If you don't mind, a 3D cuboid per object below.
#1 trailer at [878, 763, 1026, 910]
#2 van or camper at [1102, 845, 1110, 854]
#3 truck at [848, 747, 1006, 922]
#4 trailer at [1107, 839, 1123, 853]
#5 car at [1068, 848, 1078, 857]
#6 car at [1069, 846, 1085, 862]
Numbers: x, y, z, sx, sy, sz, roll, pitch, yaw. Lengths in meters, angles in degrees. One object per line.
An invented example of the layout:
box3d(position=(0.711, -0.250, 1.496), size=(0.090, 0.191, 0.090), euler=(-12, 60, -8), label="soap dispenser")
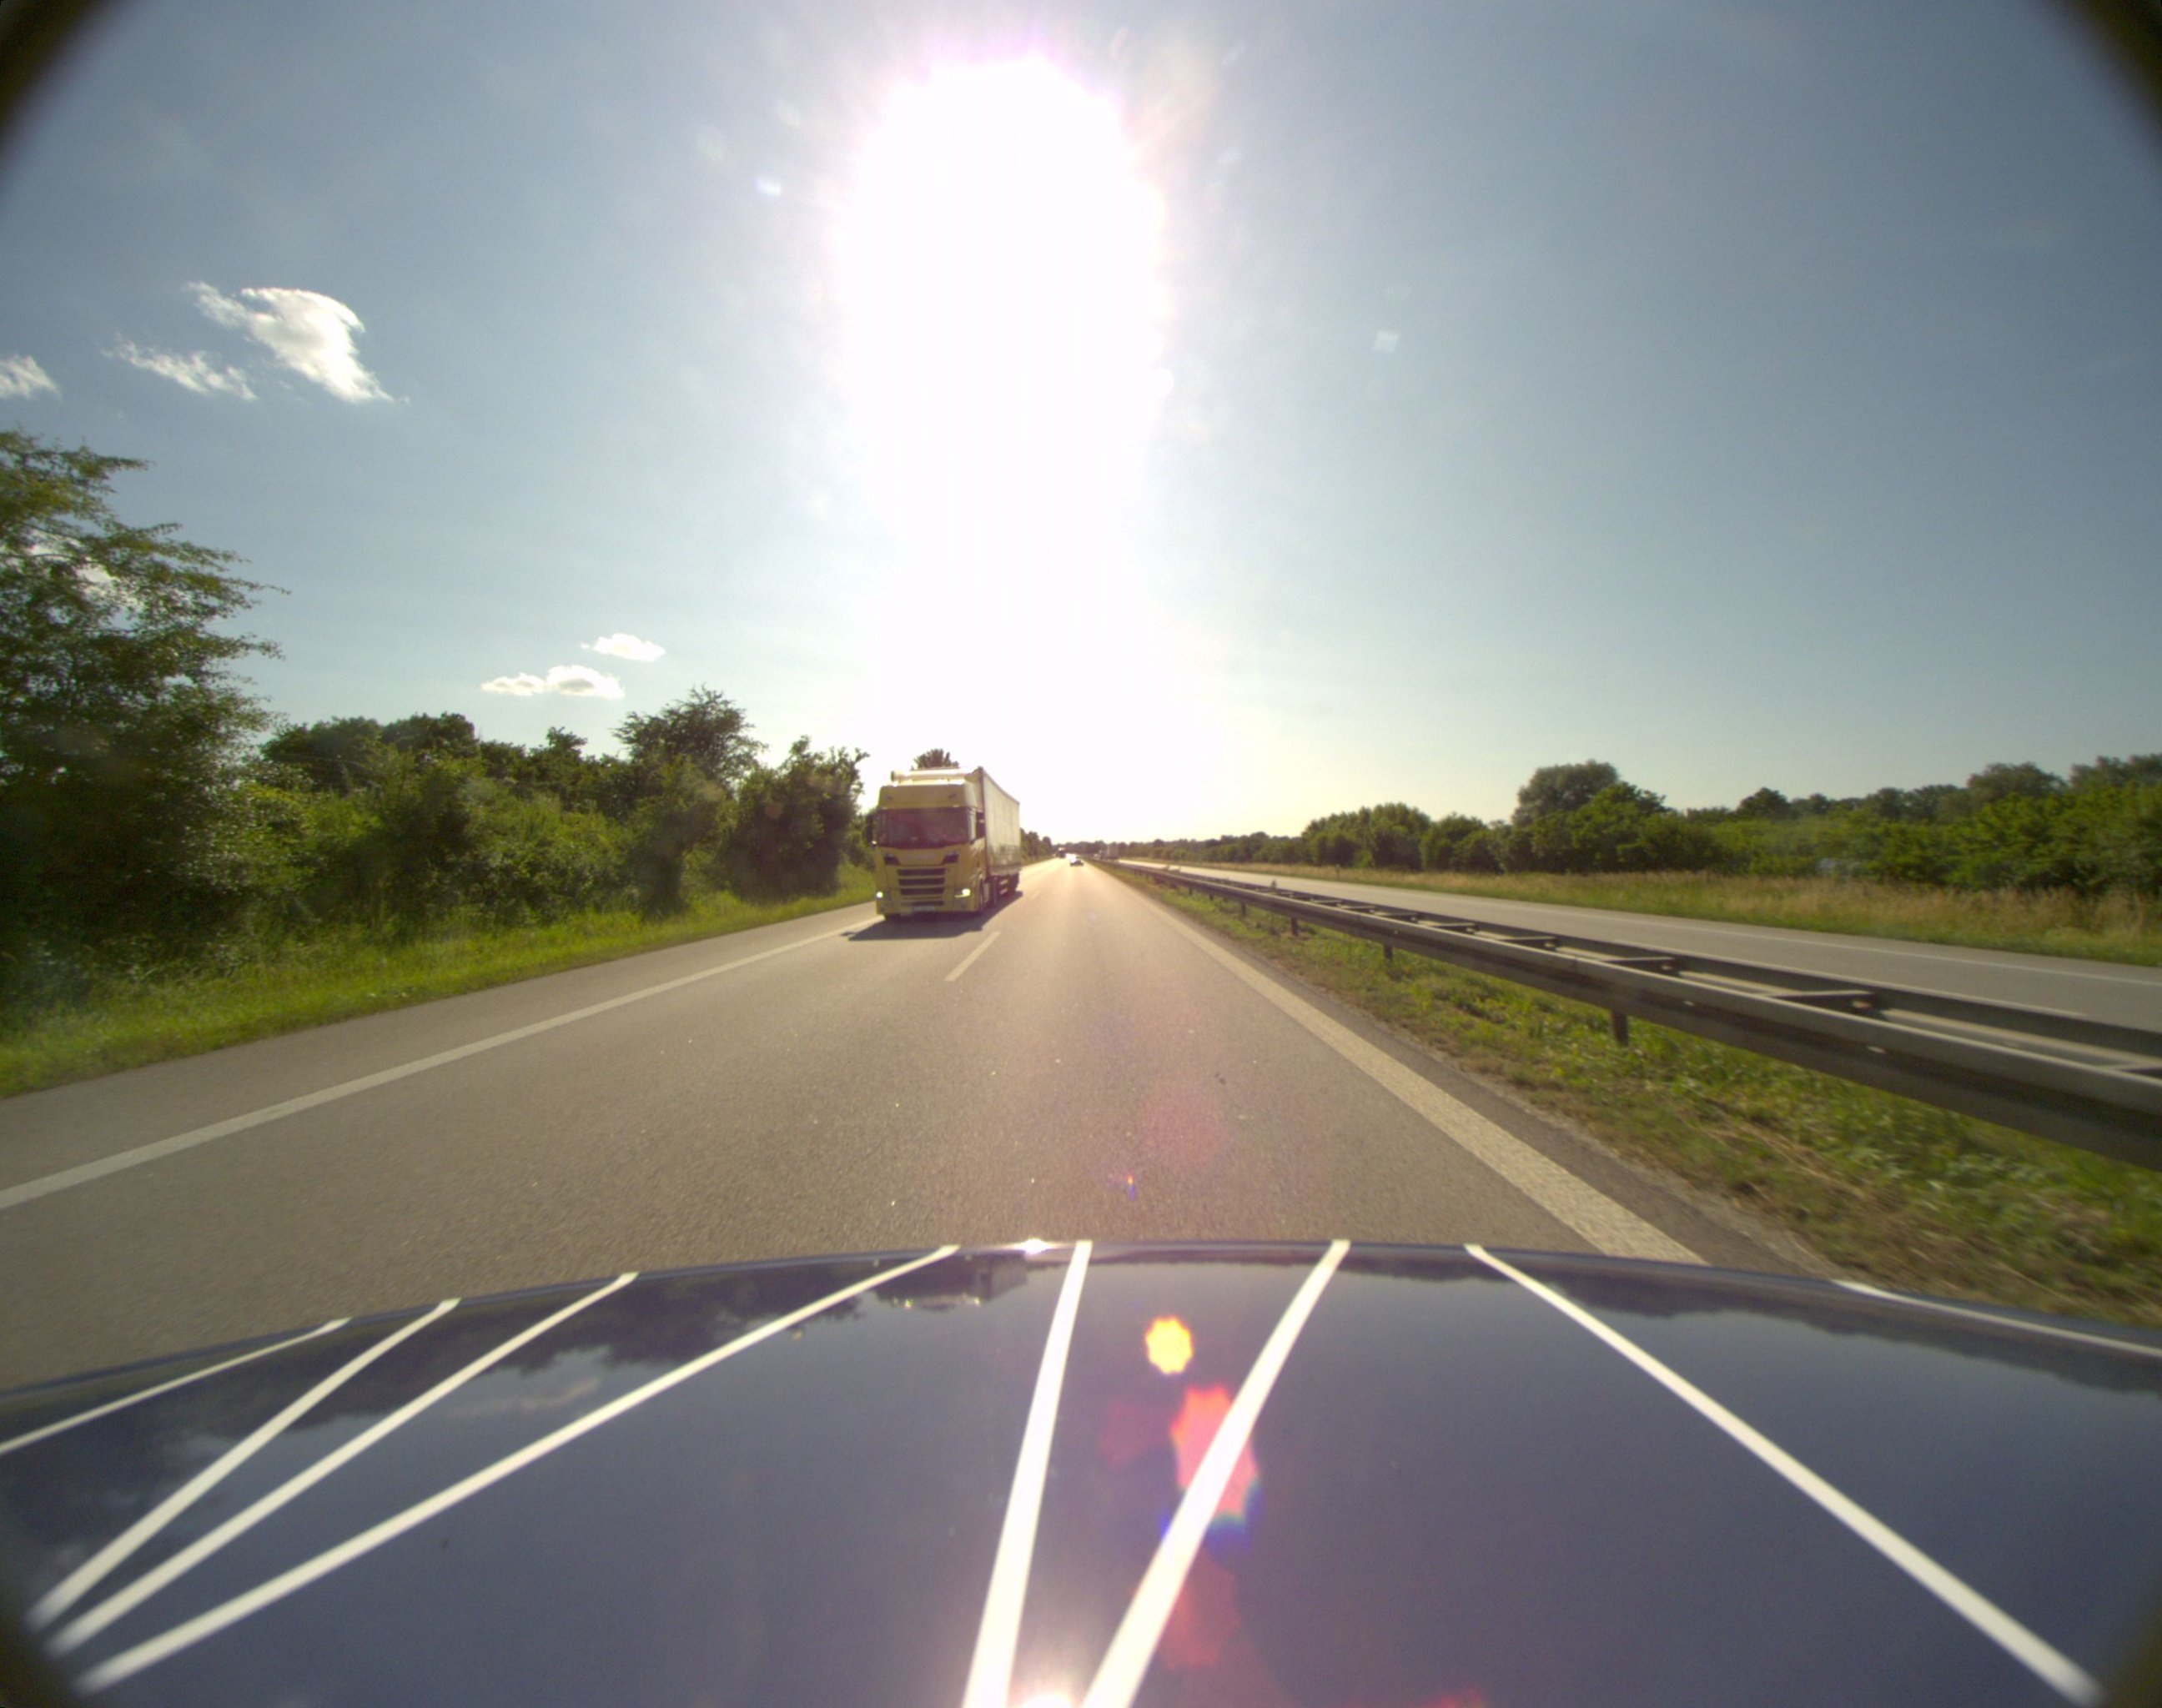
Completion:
box3d(position=(-4.151, -0.559, 28.185), size=(3.193, 4.036, 13.183), euler=(-3, 1, -1), label="trailer")
box3d(position=(6.807, -1.256, 208.826), size=(1.999, 2.482, 7.226), euler=(1, 1, -1), label="van or camper")
box3d(position=(-4.026, -0.500, 21.546), size=(3.177, 4.090, 6.386), euler=(-3, 1, -2), label="truck")
box3d(position=(9.994, -2.296, 223.349), size=(3.193, 4.036, 14.592), euler=(1, 1, -3), label="trailer")
box3d(position=(-1.916, -0.358, 181.263), size=(1.998, 2.002, 4.000), euler=(-3, 1, 1), label="car")
box3d(position=(-0.517, -0.073, 101.893), size=(1.999, 2.002, 4.357), euler=(-3, 1, -1), label="car")
